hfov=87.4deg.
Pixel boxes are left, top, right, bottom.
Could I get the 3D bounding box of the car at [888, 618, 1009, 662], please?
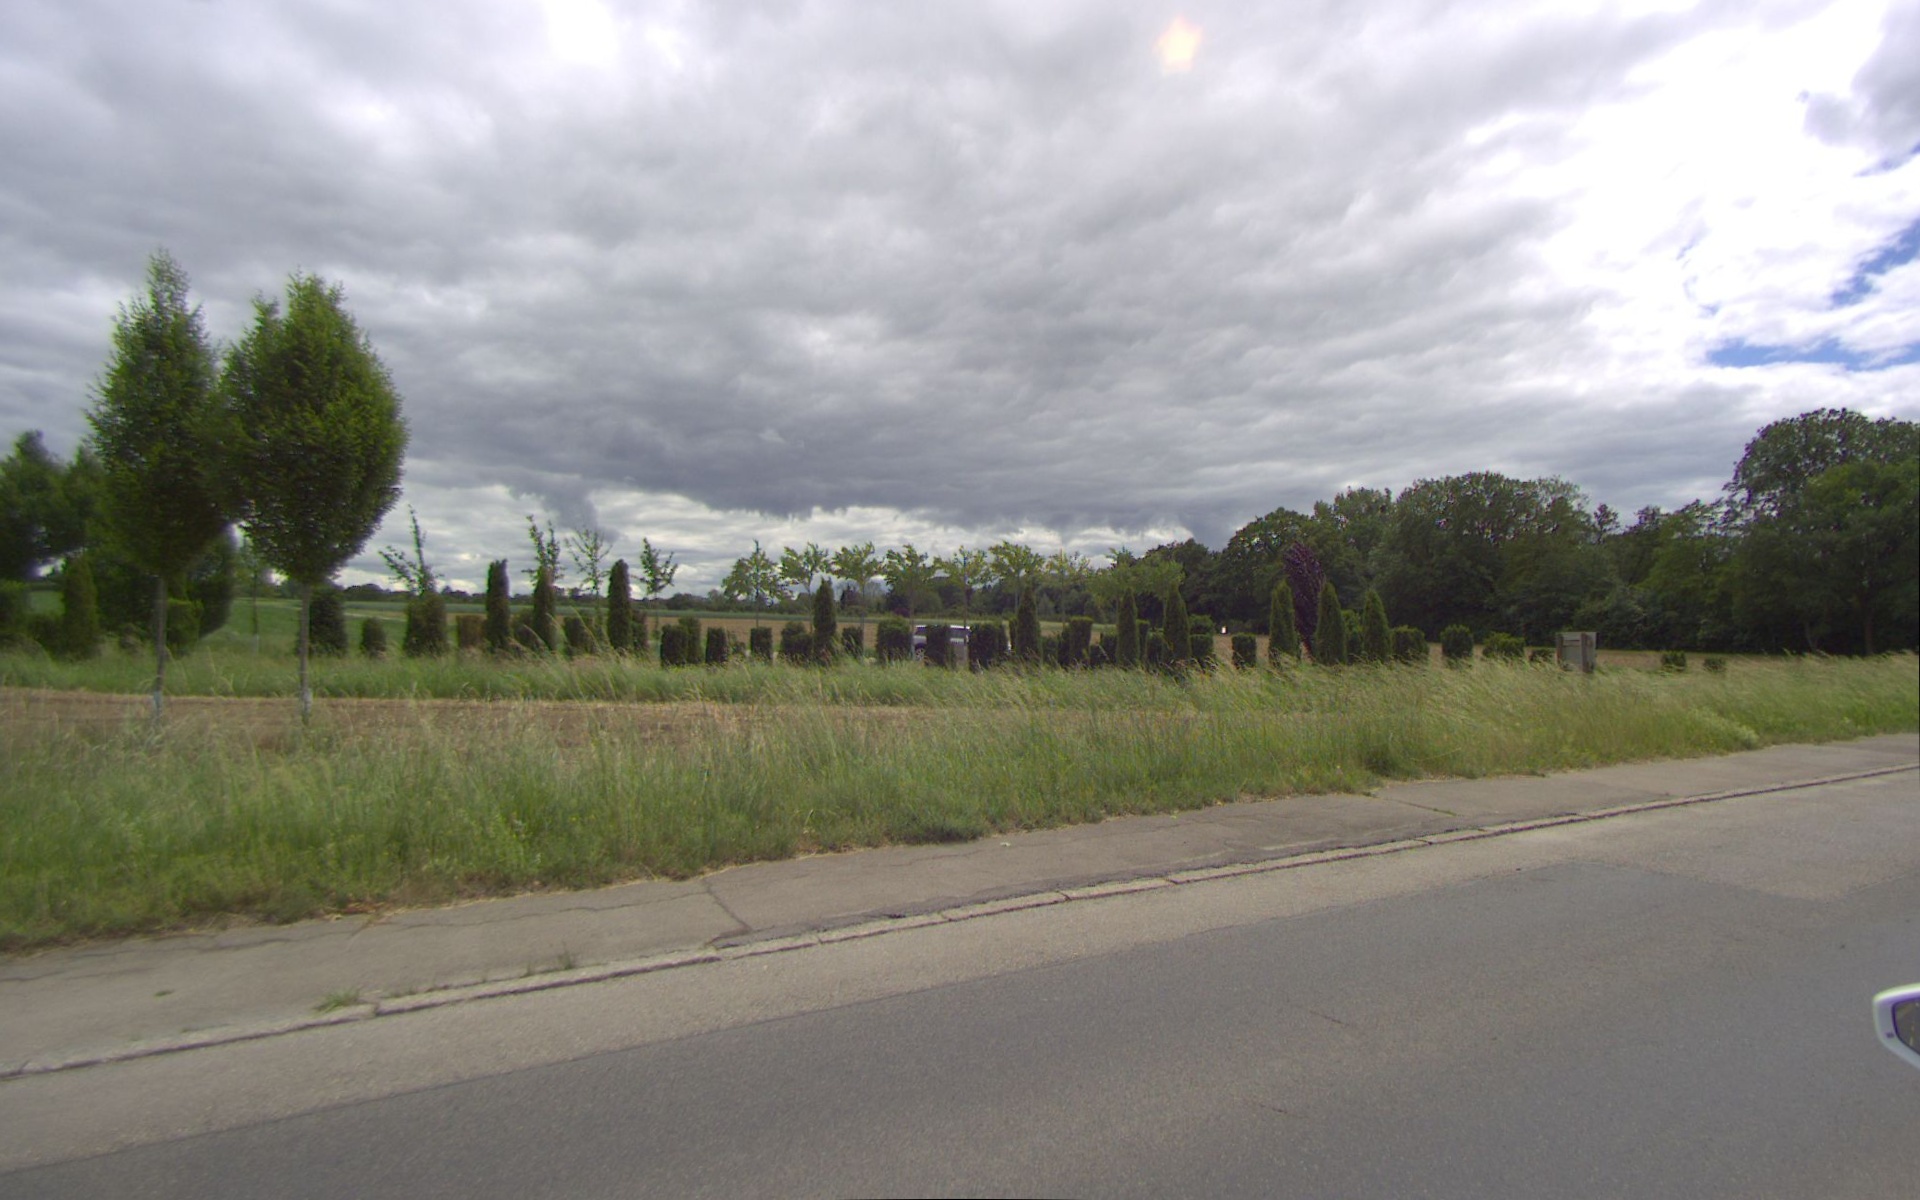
[{"bbox_3d":[-0.377,1.410,35.834,3.919,1.473,1.976,1,-1,14],"label":"car"}]
